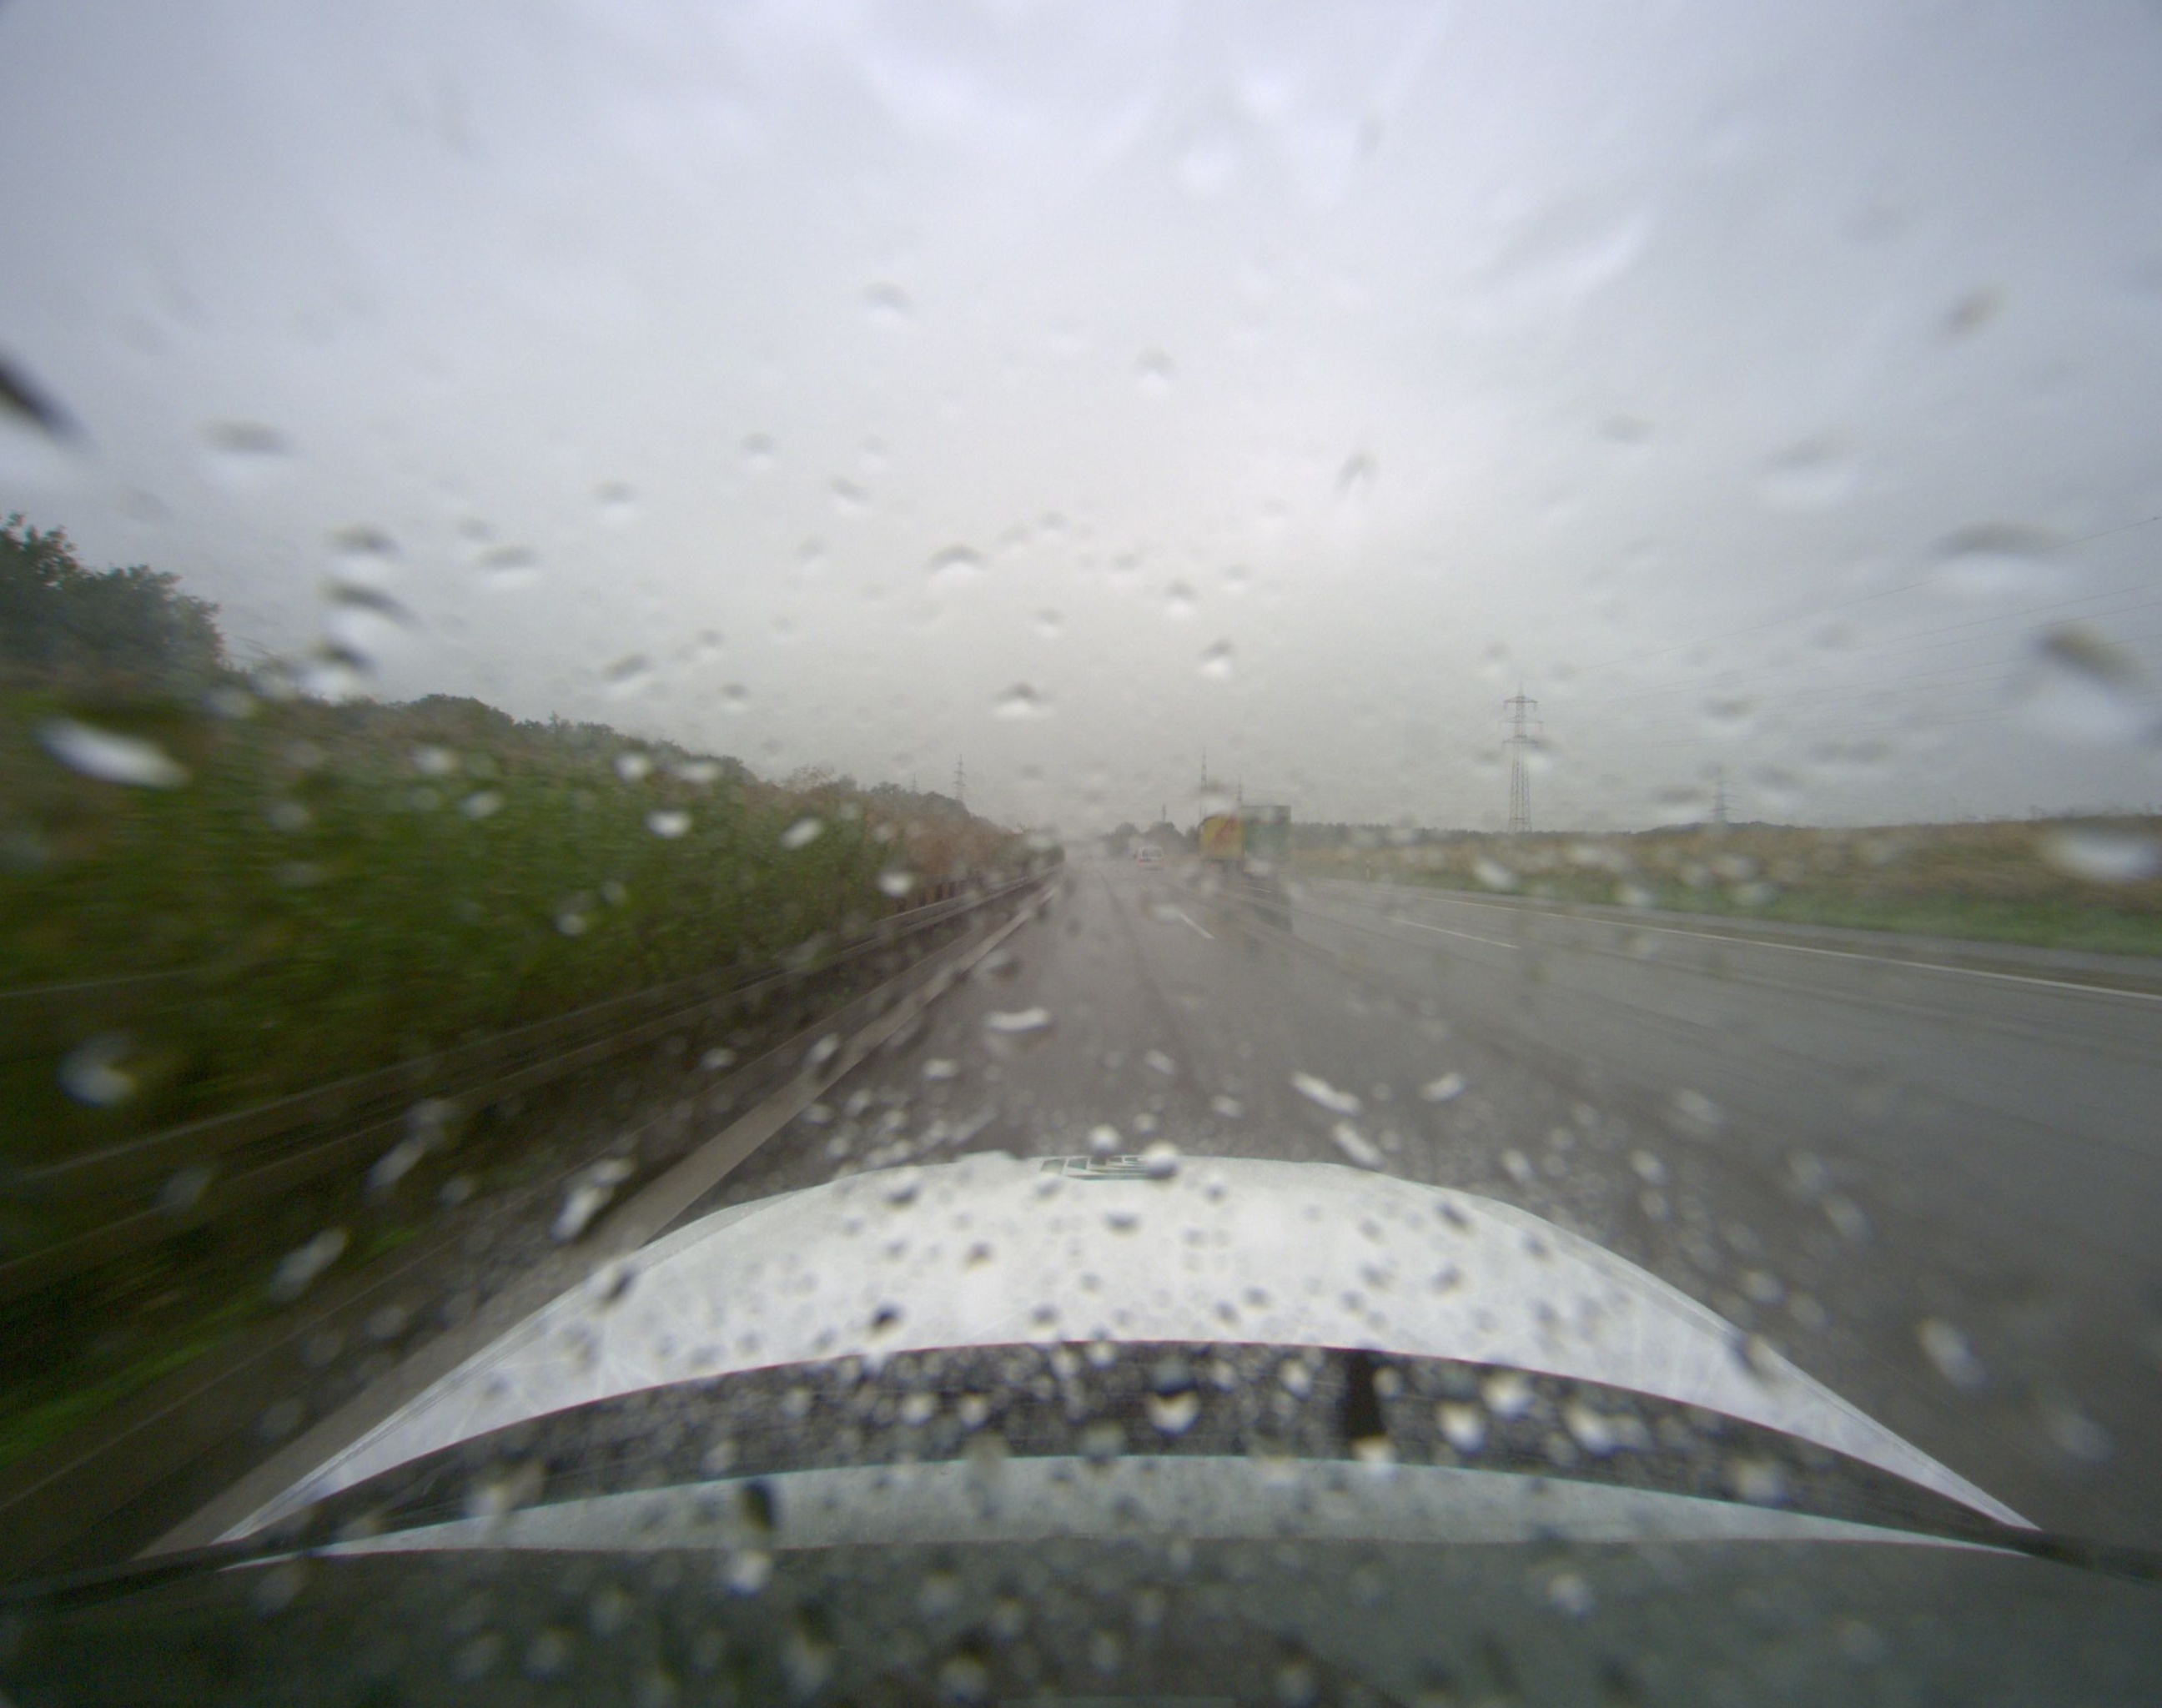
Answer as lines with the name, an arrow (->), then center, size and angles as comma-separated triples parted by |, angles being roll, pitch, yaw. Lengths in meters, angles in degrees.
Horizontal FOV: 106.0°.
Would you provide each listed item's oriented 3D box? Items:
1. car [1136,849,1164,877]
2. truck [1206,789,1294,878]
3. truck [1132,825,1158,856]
car -> 5.183, 0.633, 60.483 | 1.983, 2.013, 4.007 | 0, 1, 6
truck -> 10.120, -1.083, 50.910 | 4.166, 4.630, 16.139 | 0, 0, 7
truck -> 9.277, -2.007, 119.043 | 3.221, 4.311, 8.838 | -1, 1, 1
